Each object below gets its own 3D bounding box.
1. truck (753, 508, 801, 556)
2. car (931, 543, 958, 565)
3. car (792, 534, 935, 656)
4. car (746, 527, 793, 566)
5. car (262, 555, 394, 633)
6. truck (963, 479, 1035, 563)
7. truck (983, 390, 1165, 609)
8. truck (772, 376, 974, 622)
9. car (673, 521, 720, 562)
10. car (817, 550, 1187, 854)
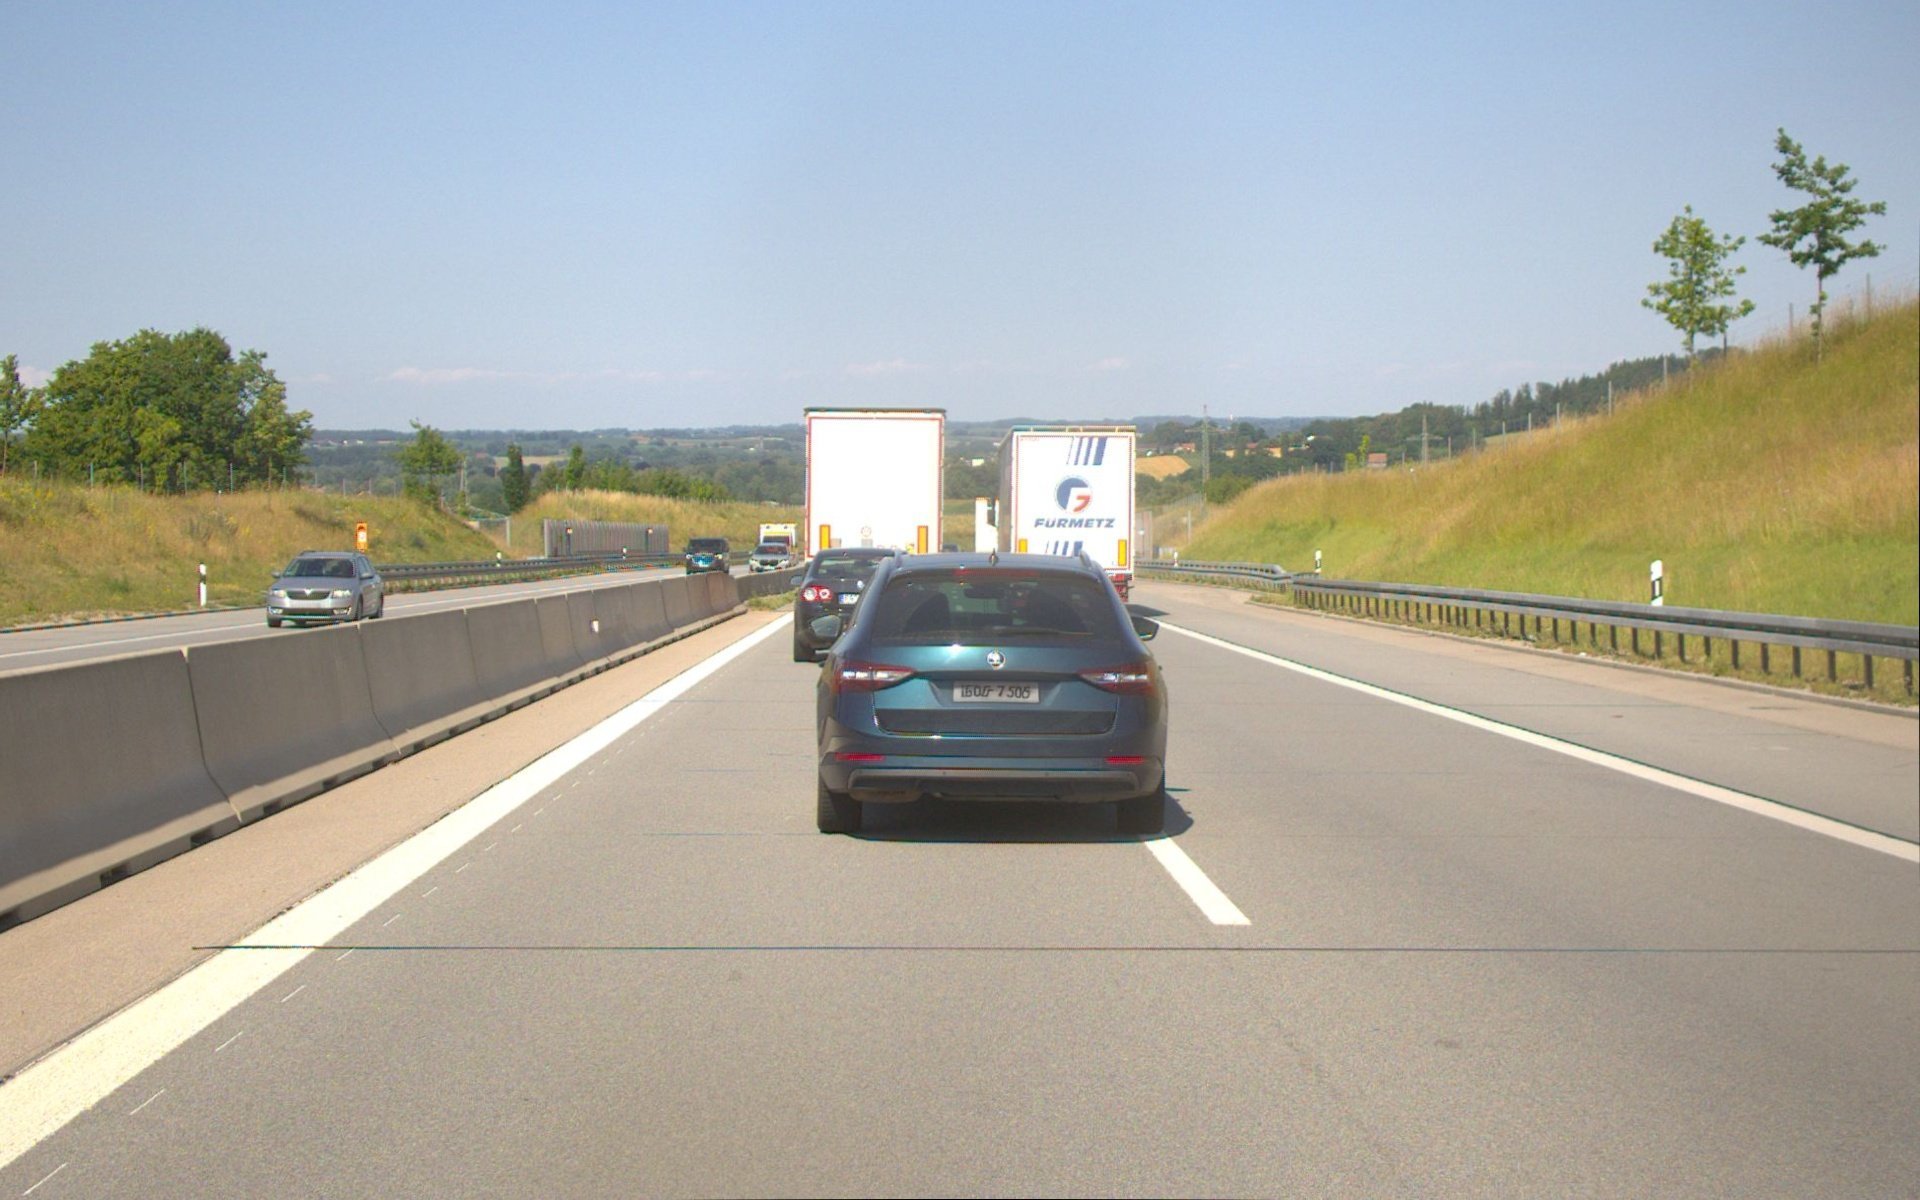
[{"bbox_3d":[-11.684,-4.319,219.729,2.774,3.011,6.793,0,1,-1],"label":"truck"},{"bbox_3d":[-1.016,-3.068,227.758,1.700,1.436,4.000,0,1,0],"label":"car"},{"bbox_3d":[-1.259,-0.101,44.349,1.700,1.436,4.001,-2,1,-2],"label":"car"},{"bbox_3d":[-8.710,-2.453,157.459,1.931,1.726,4.886,1,1,-1],"label":"car"},{"bbox_3d":[-12.416,-0.145,67.762,1.803,1.466,4.527,0,1,-1],"label":"car"},{"bbox_3d":[2.212,-4.328,188.360,3.604,4.366,11.233,-2,1,2],"label":"truck"},{"bbox_3d":[2.504,-2.191,76.341,3.604,4.366,11.233,-2,1,2],"label":"truck"},{"bbox_3d":[-1.566,-1.963,68.335,3.211,4.366,11.233,-2,1,2],"label":"truck"},{"bbox_3d":[-13.241,-2.936,172.891,1.993,2.007,4.970,1,1,-1],"label":"car"},{"bbox_3d":[0.133,0.466,18.468,1.776,1.436,3.789,0,1,-2],"label":"car"}]
